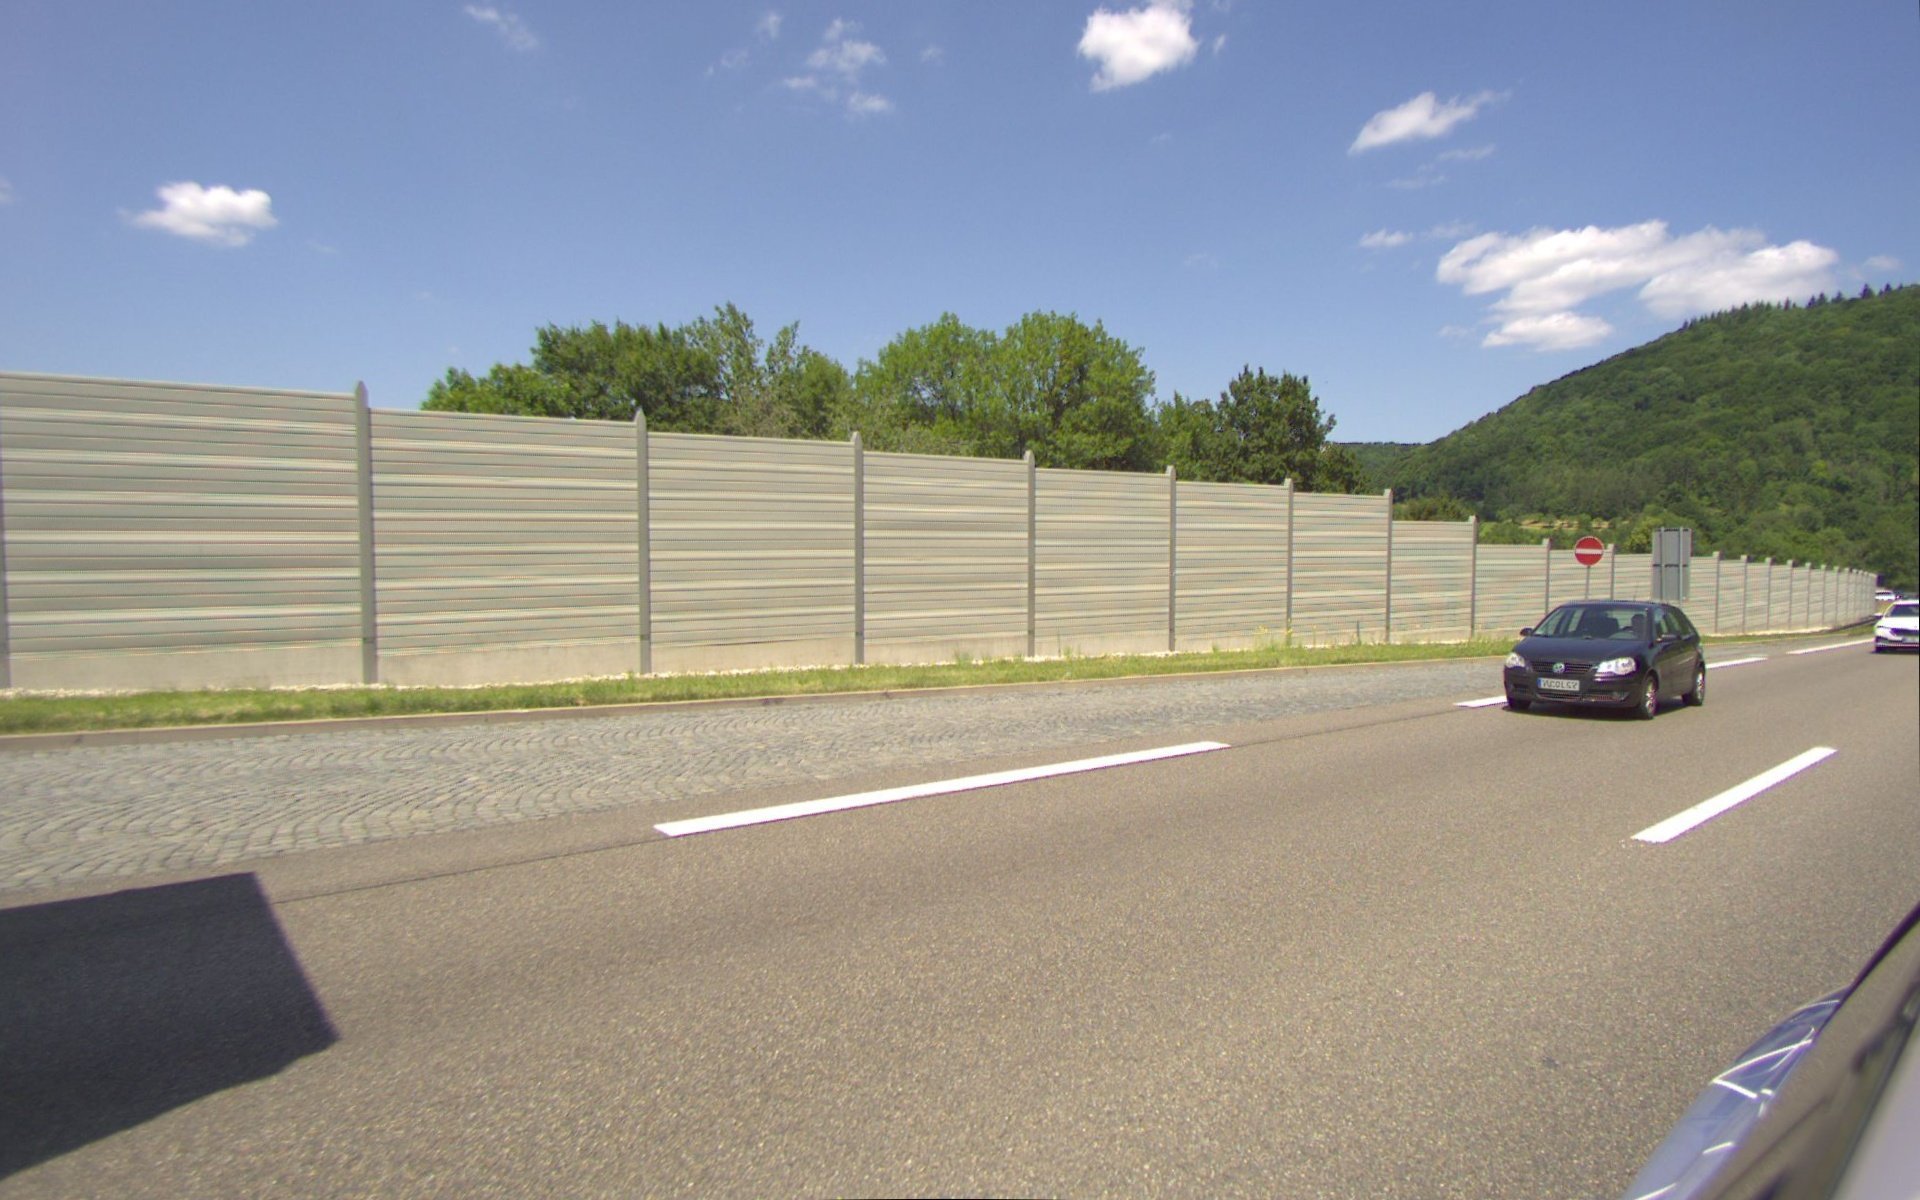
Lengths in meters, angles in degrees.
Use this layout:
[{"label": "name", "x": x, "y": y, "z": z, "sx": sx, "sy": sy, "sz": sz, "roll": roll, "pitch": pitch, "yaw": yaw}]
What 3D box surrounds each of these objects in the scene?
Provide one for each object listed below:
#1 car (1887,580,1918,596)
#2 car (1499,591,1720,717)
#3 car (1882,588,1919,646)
[{"label": "car", "x": 123.873, "y": -1.587, "z": 133.021, "sx": 1.982, "sy": 2.039, "sz": 3.960, "roll": -1, "pitch": 0, "yaw": 28}, {"label": "car", "x": 8.877, "y": 0.618, "z": 13.723, "sx": 3.775, "sy": 1.440, "sz": 1.693, "roll": -1, "pitch": 0, "yaw": -44}, {"label": "car", "x": 26.641, "y": 0.440, "z": 27.554, "sx": 3.658, "sy": 1.448, "sz": 1.906, "roll": -2, "pitch": 2, "yaw": -41}]
